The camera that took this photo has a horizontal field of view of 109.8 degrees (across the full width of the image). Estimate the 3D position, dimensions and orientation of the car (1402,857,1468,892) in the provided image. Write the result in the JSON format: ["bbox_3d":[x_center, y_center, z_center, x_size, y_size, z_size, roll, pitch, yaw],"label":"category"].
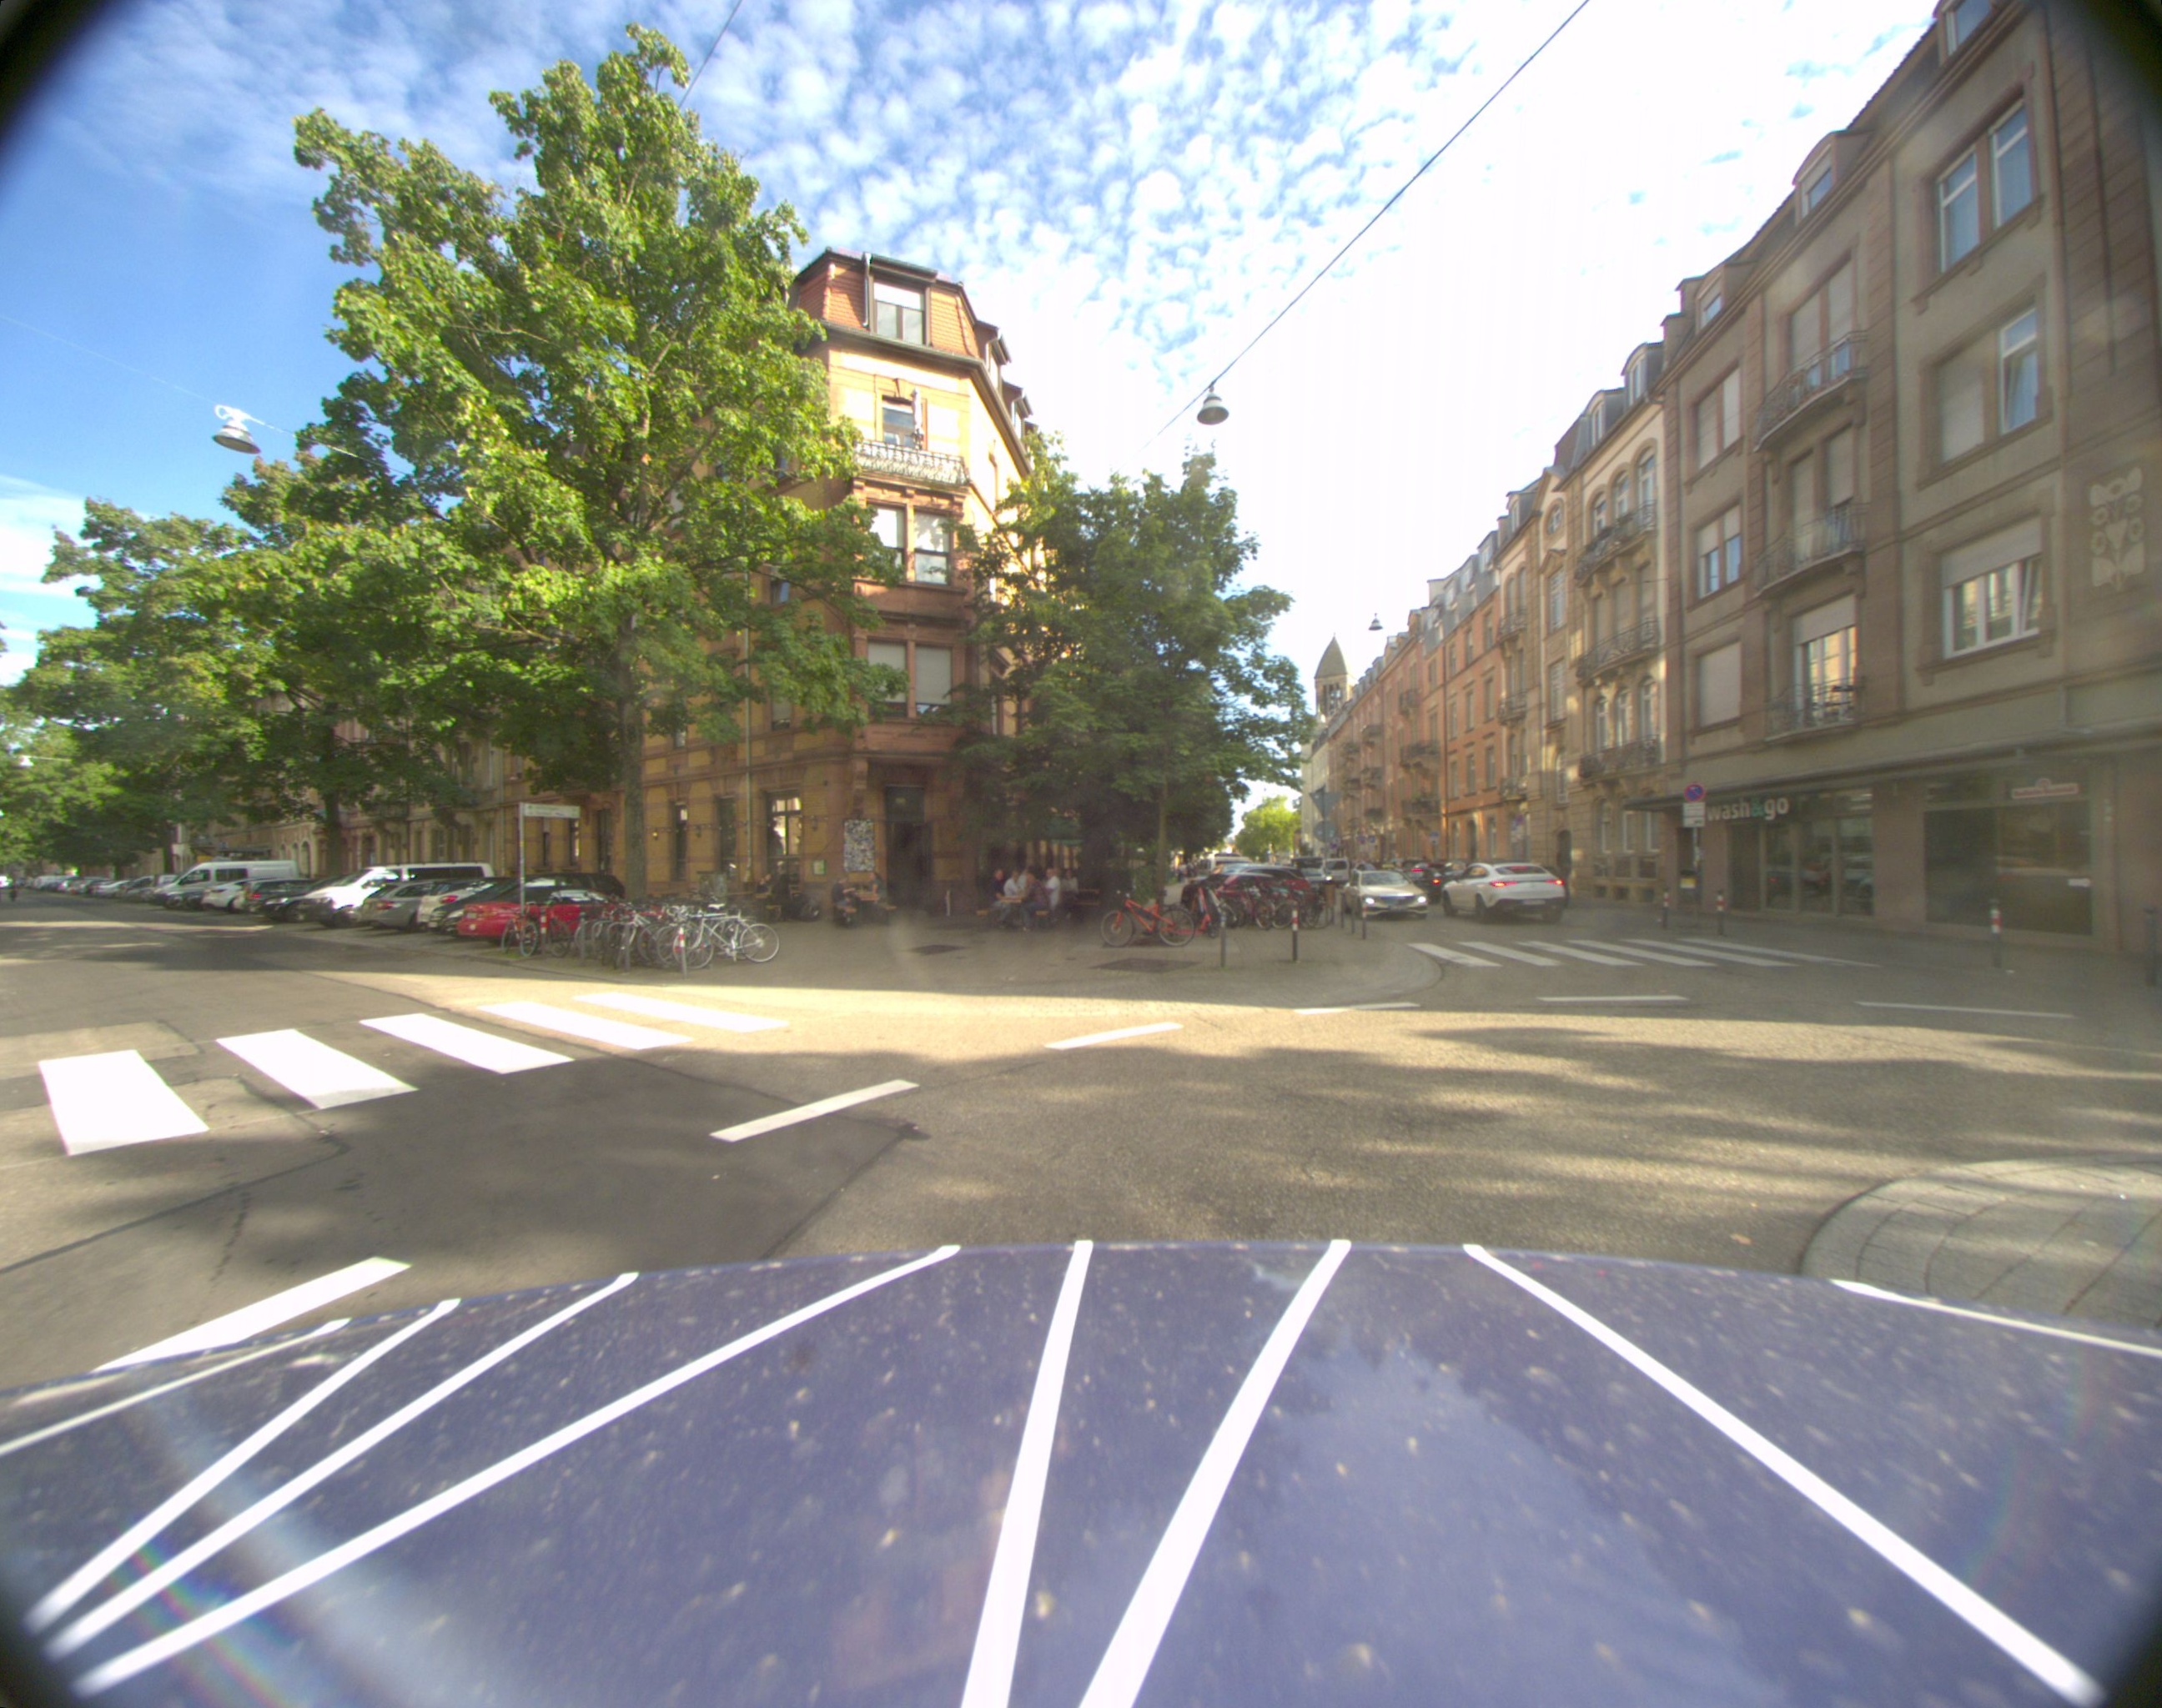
[{"bbox_3d":[16.755,0.949,36.136,1.760,1.487,4.136,-2,-1,9],"label":"car"}]

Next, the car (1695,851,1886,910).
[{"bbox_3d":[21.912,0.796,23.613,3.996,1.611,2.000,-2,-1,1],"label":"car"}]

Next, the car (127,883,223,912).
[{"bbox_3d":[-61.422,2.941,51.569,1.824,1.721,4.008,-2,-1,34],"label":"car"}]

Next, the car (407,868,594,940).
[{"bbox_3d":[-15.982,1.319,21.076,1.856,1.711,3.716,-2,-1,37],"label":"car"}]

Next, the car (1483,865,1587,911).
[{"bbox_3d":[15.094,1.091,25.493,1.722,1.360,3.833,-2,-1,11],"label":"car"}]

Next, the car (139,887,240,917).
[{"bbox_3d":[-57.412,3.070,49.007,1.824,1.721,4.008,-2,-1,34],"label":"car"}]

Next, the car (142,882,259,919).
[{"bbox_3d":[-49.951,2.606,43.191,1.995,1.862,4.135,-2,-1,36],"label":"car"}]

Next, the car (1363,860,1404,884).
[{"bbox_3d":[18.463,1.075,46.518,1.623,1.371,3.765,-2,-1,11],"label":"car"}]

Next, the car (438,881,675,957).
[{"bbox_3d":[-11.802,1.395,17.408,1.564,1.263,4.120,-2,1,33],"label":"car"}]

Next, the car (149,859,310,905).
[{"bbox_3d":[-45.231,1.450,40.501,1.995,2.188,5.493,-2,-1,36],"label":"car"}]

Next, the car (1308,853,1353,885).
[{"bbox_3d":[15.972,0.929,48.791,1.942,1.868,4.840,-2,-1,9],"label":"car"}]

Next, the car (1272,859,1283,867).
[{"bbox_3d":[32.755,1.518,126.670,1.623,1.371,3.765,-1,0,11],"label":"car"}]

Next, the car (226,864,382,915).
[{"bbox_3d":[-34.478,1.501,33.863,1.931,1.823,4.466,-1,3,32],"label":"car"}]

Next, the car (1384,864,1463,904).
[{"bbox_3d":[13.595,1.138,30.405,1.768,1.373,4.455,-3,-1,10],"label":"car"}]

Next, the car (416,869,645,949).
[{"bbox_3d":[-13.877,1.277,19.362,2.001,1.561,4.320,-1,2,41],"label":"car"}]

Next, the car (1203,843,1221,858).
[{"bbox_3d":[16.172,-0.384,93.879,1.849,1.724,4.002,-2,-1,5],"label":"car"}]

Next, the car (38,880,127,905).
[{"bbox_3d":[-77.033,2.959,58.660,1.824,1.721,4.008,-2,-1,34],"label":"car"}]

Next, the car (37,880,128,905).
[{"bbox_3d":[-75.159,2.871,57.257,1.824,1.721,4.008,-2,-1,34],"label":"car"}]

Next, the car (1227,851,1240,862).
[{"bbox_3d":[25.722,0.452,128.432,1.997,1.877,4.004,-2,-1,12],"label":"car"}]

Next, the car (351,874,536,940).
[{"bbox_3d":[-18.178,1.448,21.814,1.665,1.449,3.714,-2,2,37],"label":"car"}]

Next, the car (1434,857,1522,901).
[{"bbox_3d":[15.844,0.955,30.577,1.860,1.575,4.402,-2,0,11],"label":"car"}]

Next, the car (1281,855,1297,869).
[{"bbox_3d":[28.919,1.081,105.730,1.725,1.921,4.015,-1,0,11],"label":"car"}]

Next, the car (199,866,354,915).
[{"bbox_3d":[-36.583,1.587,34.703,1.931,1.823,4.466,-1,3,32],"label":"car"}]

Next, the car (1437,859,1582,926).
[{"bbox_3d":[11.581,0.985,20.979,1.997,1.624,4.848,-1,-1,11],"label":"car"}]

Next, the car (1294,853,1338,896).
[{"bbox_3d":[11.869,1.021,38.562,1.791,2.051,4.004,-1,0,13],"label":"car"}]

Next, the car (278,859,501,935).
[{"bbox_3d":[-22.496,1.282,24.972,2.041,1.978,4.919,-1,3,32],"label":"car"}]

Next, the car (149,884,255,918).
[{"bbox_3d":[-53.212,2.786,46.057,1.824,1.807,4.008,-2,-1,34],"label":"car"}]

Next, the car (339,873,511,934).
[{"bbox_3d":[-20.386,1.471,23.746,1.665,1.450,3.714,0,3,37],"label":"car"}]

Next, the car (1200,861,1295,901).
[{"bbox_3d":[7.039,1.138,32.228,3.589,1.602,1.512,2,0,-13],"label":"car"}]

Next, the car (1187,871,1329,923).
[{"bbox_3d":[4.994,1.210,21.511,3.590,1.372,1.511,2,0,-15],"label":"car"}]

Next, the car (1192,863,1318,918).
[{"bbox_3d":[5.488,1.140,24.079,3.589,1.606,1.512,2,0,-13],"label":"car"}]

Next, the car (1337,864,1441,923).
[{"bbox_3d":[9.480,1.152,23.827,1.942,1.588,4.840,-2,-1,9],"label":"car"}]
